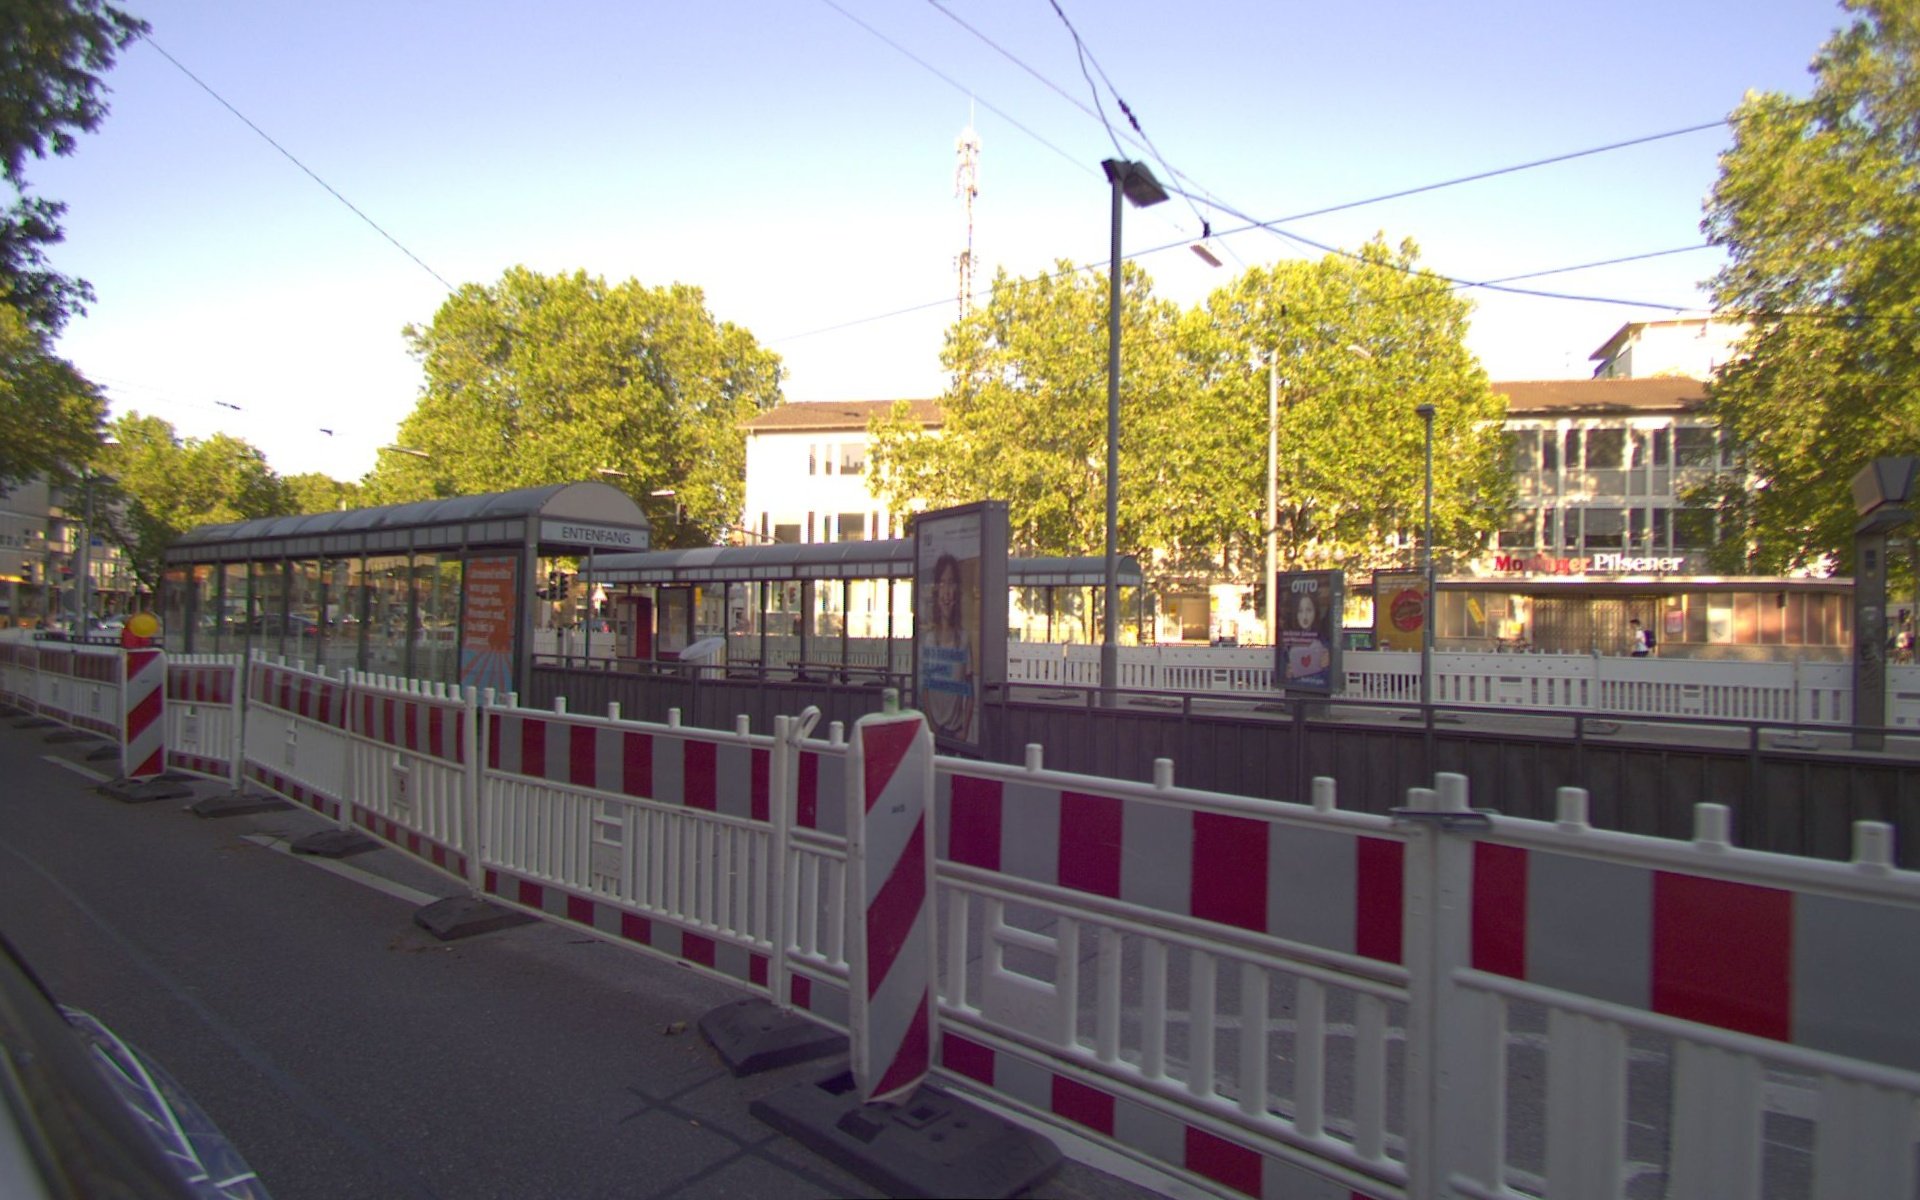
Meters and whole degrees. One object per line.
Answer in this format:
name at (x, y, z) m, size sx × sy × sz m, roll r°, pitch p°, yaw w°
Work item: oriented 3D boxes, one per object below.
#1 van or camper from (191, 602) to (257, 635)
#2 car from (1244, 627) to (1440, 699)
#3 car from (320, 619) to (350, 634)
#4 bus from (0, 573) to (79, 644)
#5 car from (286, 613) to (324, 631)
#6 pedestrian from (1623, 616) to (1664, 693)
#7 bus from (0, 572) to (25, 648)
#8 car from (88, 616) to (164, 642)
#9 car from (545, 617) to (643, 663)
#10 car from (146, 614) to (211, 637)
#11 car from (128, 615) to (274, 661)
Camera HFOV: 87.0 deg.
van or camper at (-59.360, 1.490, 81.726) m, size 2.254 × 2.558 × 5.509 m, roll 0°, pitch -1°, yaw -12°
car at (8.816, 1.401, 23.424) m, size 3.986 × 1.497 × 1.979 m, roll -1°, pitch -2°, yaw 31°
car at (-66.086, 2.821, 107.105) m, size 1.678 × 1.599 × 3.717 m, roll 1°, pitch -1°, yaw -15°
bus at (-47.301, 0.516, 50.707) m, size 2.693 × 3.231 × 12.397 m, roll -1°, pitch -1°, yaw -31°
car at (-63.283, 2.141, 97.834) m, size 1.966 × 1.608 × 4.011 m, roll 1°, pitch -2°, yaw -15°
pedestrian at (18.589, 1.466, 27.542) m, size 0.884 × 2.029 × 0.874 m, roll -1°, pitch -2°, yaw 32°
bus at (-41.221, 0.411, 41.170) m, size 2.694 × 3.231 × 12.339 m, roll -1°, pitch -1°, yaw -34°
car at (-53.860, 1.838, 65.456) m, size 1.966 × 1.608 × 4.573 m, roll 1°, pitch -1°, yaw -14°
car at (-15.490, 1.663, 42.757) m, size 3.991 × 1.829 × 1.976 m, roll 0°, pitch -2°, yaw 36°
car at (-56.059, 1.810, 72.714) m, size 1.966 × 1.608 × 4.573 m, roll 1°, pitch -1°, yaw -14°
car at (-31.515, 1.609, 42.166) m, size 4.364 × 1.660 × 2.005 m, roll 3°, pitch -4°, yaw -13°
